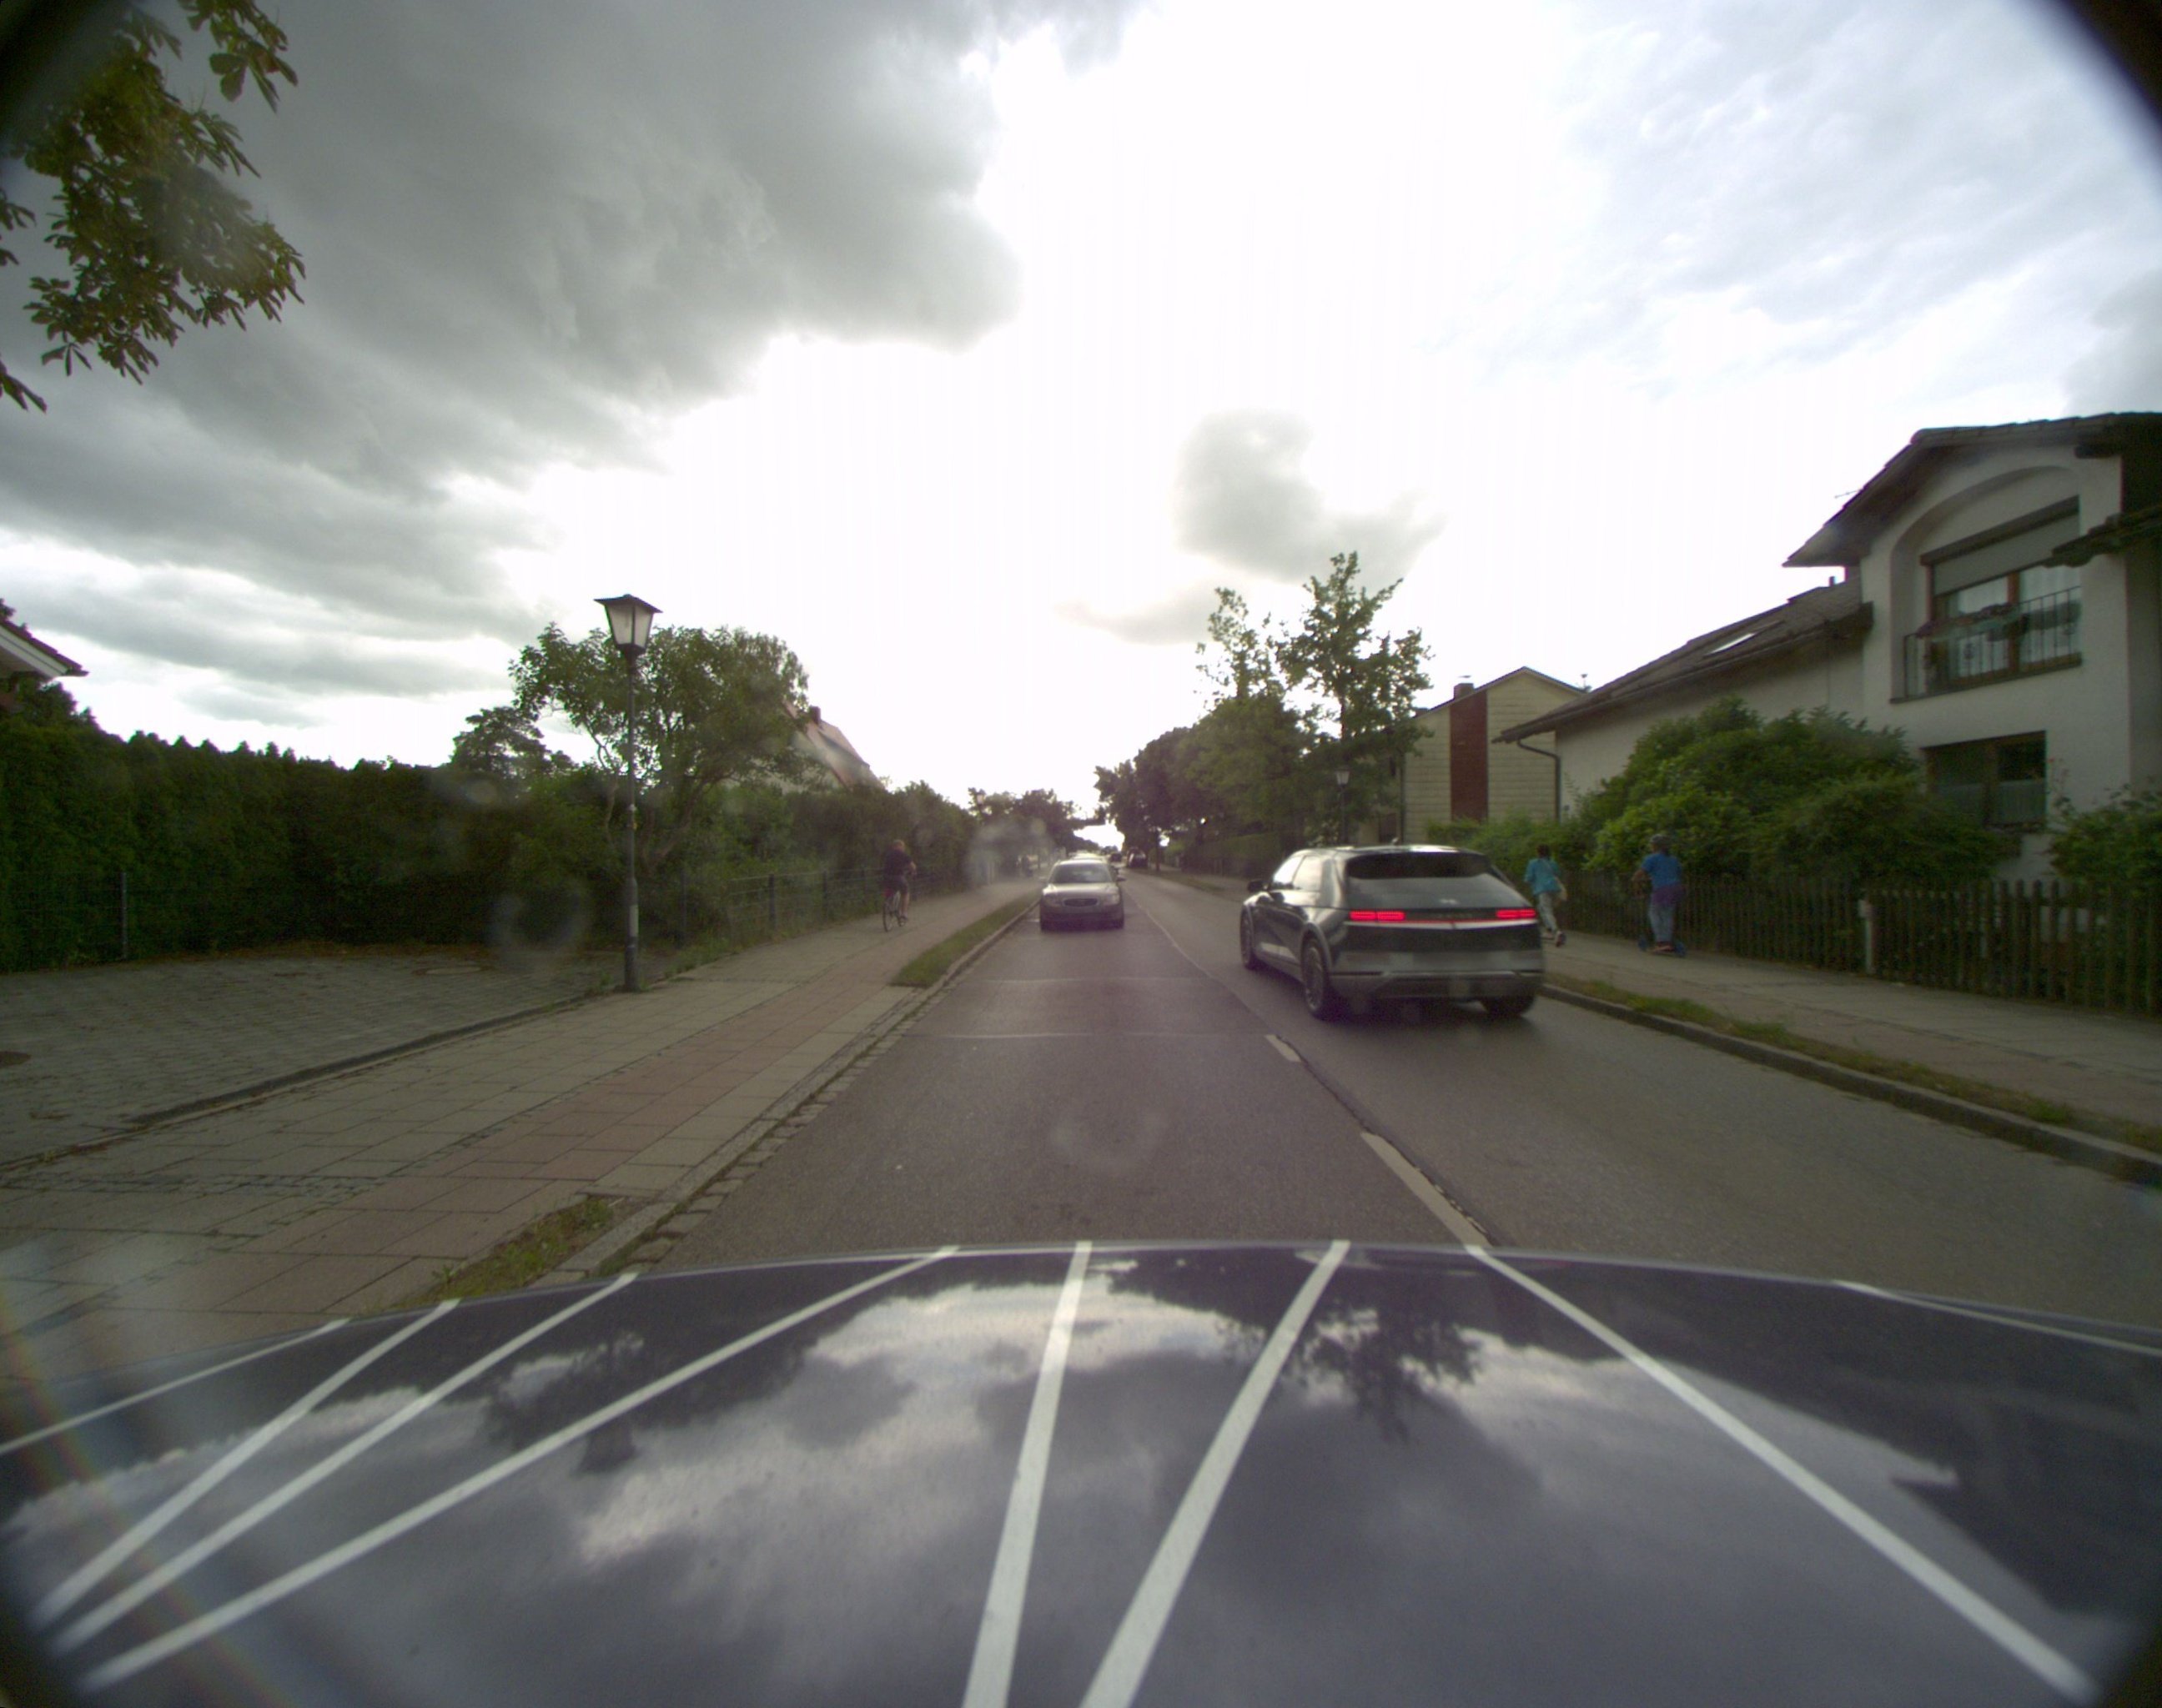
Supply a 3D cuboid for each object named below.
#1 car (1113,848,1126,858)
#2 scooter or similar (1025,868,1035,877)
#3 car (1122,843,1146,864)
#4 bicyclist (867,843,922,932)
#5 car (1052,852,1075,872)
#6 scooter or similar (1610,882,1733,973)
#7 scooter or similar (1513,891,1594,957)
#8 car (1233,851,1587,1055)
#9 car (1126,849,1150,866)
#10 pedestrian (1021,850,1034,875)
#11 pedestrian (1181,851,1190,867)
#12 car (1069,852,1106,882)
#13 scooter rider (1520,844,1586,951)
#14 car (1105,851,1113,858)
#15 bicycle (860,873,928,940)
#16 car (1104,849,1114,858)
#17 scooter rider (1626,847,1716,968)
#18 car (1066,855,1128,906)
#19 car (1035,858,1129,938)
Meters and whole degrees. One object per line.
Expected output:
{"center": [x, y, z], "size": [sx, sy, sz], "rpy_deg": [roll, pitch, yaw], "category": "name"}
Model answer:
{"center": [6.732, -0.191, 133.350], "size": [1.969, 1.842, 4.948], "rpy_deg": [-1, 0, 1], "category": "car"}
{"center": [-3.205, 1.148, 47.658], "size": [0.618, 0.553, 0.742], "rpy_deg": [-1, 0, -4], "category": "scooter or similar"}
{"center": [6.017, -0.015, 86.379], "size": [2.246, 2.258, 4.469], "rpy_deg": [-1, 0, -2], "category": "car"}
{"center": [-3.541, 0.617, 14.492], "size": [0.738, 1.623, 0.891], "rpy_deg": [2, 1, 4], "category": "bicyclist"}
{"center": [-1.415, 0.635, 62.636], "size": [1.867, 1.518, 4.122], "rpy_deg": [-1, 0, -1], "category": "car"}
{"center": [7.422, 0.894, 9.615], "size": [0.663, 1.031, 1.178], "rpy_deg": [-1, 0, 2], "category": "scooter or similar"}
{"center": [6.818, 0.987, 11.003], "size": [0.522, 0.845, 1.061], "rpy_deg": [-1, 0, 1], "category": "scooter or similar"}
{"center": [2.999, 0.769, 8.090], "size": [1.935, 1.566, 4.311], "rpy_deg": [-1, 0, 1], "category": "car"}
{"center": [6.018, 0.328, 80.540], "size": [1.999, 1.739, 3.999], "rpy_deg": [-1, 0, -2], "category": "car"}
{"center": [-3.379, 0.553, 48.349], "size": [0.793, 1.592, 0.671], "rpy_deg": [-1, 1, -2], "category": "pedestrian"}
{"center": [9.214, 0.458, 67.067], "size": [0.631, 1.429, 0.563], "rpy_deg": [-1, 1, 0], "category": "pedestrian"}
{"center": [0.350, 0.673, 41.038], "size": [1.866, 1.518, 4.122], "rpy_deg": [-1, 0, 0], "category": "car"}
{"center": [6.795, 0.613, 10.962], "size": [0.504, 1.481, 0.716], "rpy_deg": [-1, 1, 3], "category": "scooter rider"}
{"center": [7.010, 0.091, 190.089], "size": [1.904, 1.873, 5.010], "rpy_deg": [-1, 0, 1], "category": "car"}
{"center": [-3.535, 0.961, 14.495], "size": [0.766, 1.136, 1.845], "rpy_deg": [0, 0, 2], "category": "bicycle"}
{"center": [6.048, -0.128, 163.931], "size": [1.904, 1.873, 5.010], "rpy_deg": [-1, 0, 1], "category": "car"}
{"center": [7.416, 0.653, 9.573], "size": [0.664, 1.464, 0.581], "rpy_deg": [-1, 1, 1], "category": "scooter rider"}
{"center": [0.506, 0.810, 25.742], "size": [1.866, 1.518, 4.943], "rpy_deg": [-1, 0, 0], "category": "car"}
{"center": [0.032, 0.870, 16.932], "size": [1.809, 1.476, 4.270], "rpy_deg": [-1, 0, 0], "category": "car"}
